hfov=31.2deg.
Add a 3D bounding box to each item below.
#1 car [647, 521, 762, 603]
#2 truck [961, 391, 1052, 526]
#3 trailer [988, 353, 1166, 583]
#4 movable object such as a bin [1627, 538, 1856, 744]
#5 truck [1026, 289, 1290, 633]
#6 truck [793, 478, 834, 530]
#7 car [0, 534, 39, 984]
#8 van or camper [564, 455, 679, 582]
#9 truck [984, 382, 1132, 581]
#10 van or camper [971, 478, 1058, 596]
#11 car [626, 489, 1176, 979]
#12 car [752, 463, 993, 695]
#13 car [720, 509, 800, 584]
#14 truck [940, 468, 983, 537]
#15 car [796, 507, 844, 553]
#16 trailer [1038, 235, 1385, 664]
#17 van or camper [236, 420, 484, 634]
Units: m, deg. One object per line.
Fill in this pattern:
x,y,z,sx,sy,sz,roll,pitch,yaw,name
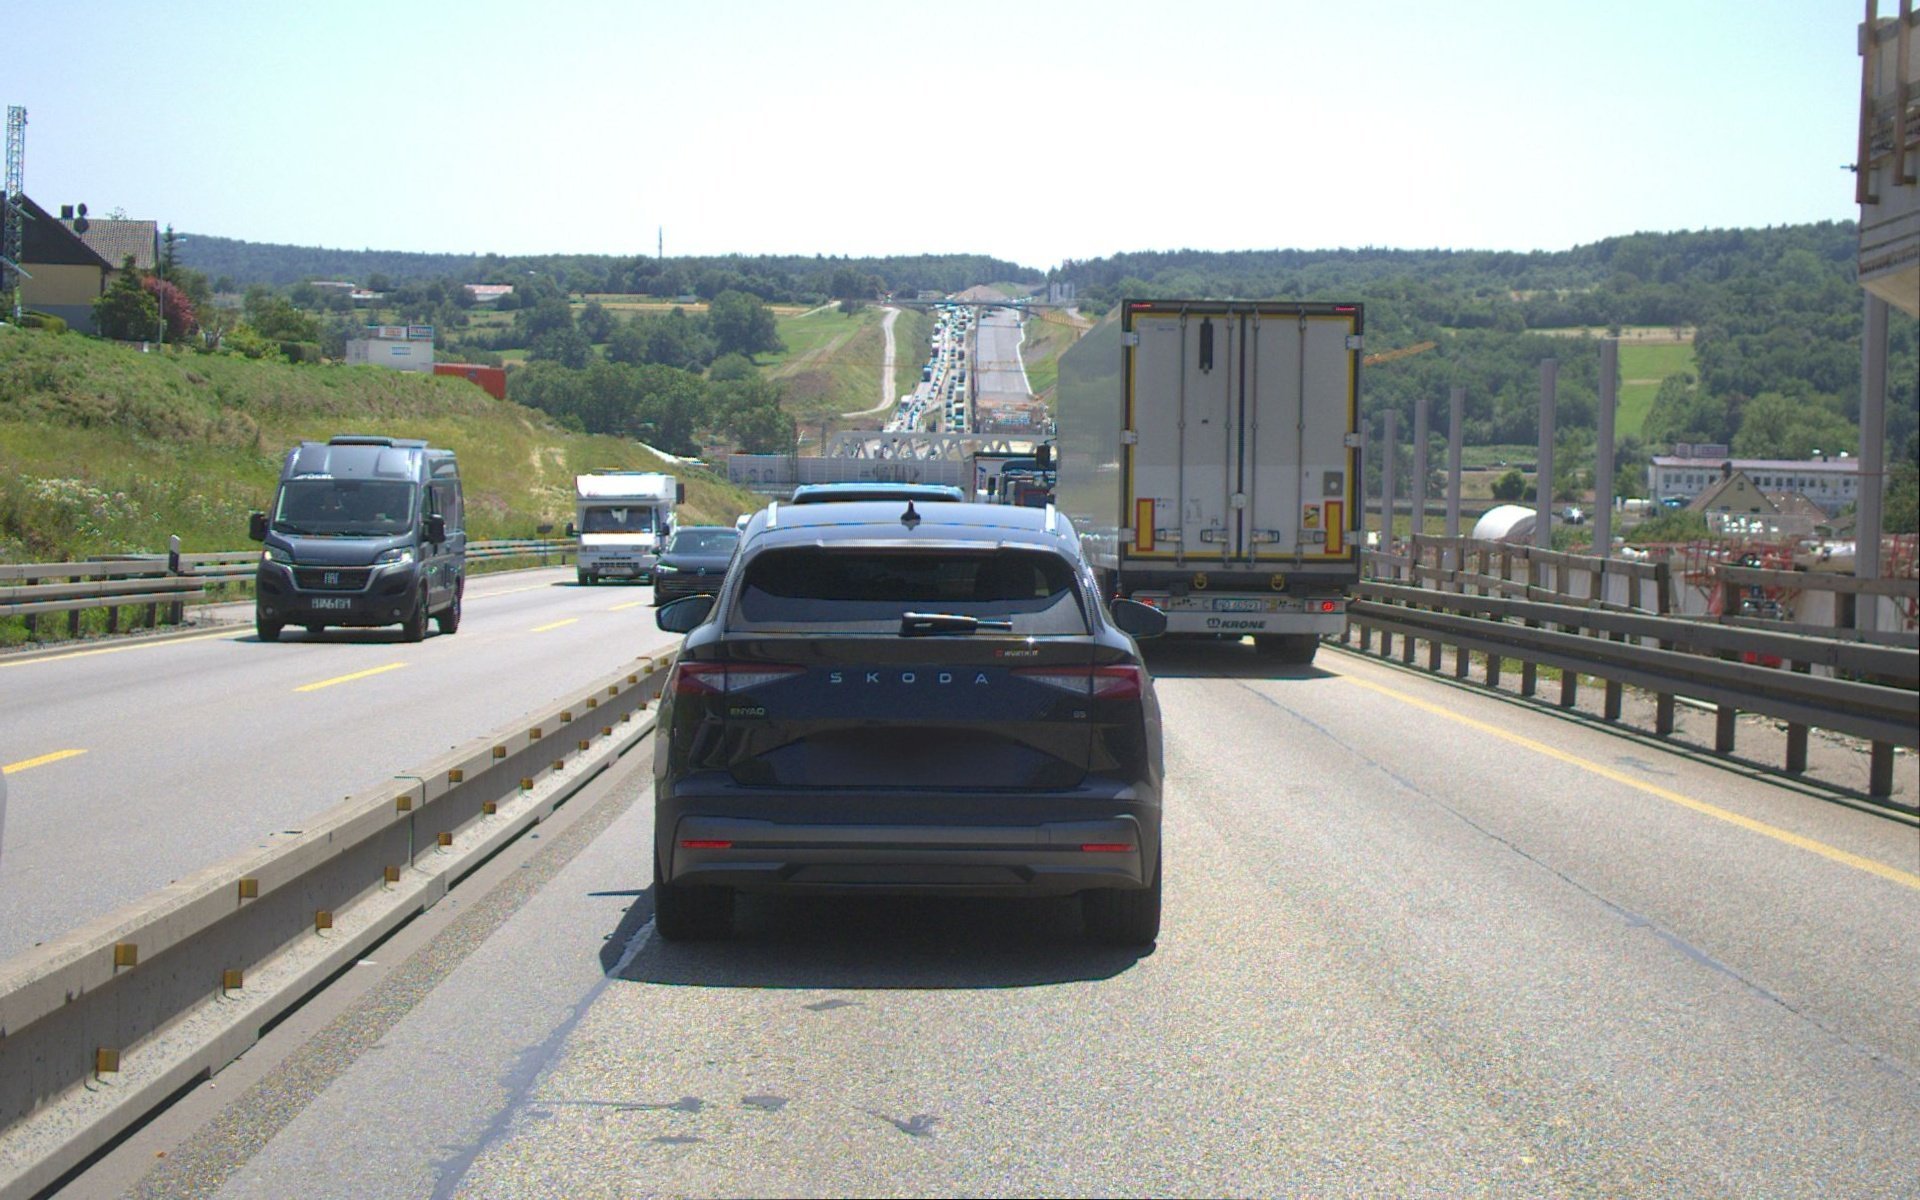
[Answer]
-4.756,-0.737,64.531,1.842,1.470,4.835,1,1,-1,car
1.615,-5.047,125.392,2.852,4.450,11.918,1,0,-1,truck
2.374,-2.644,75.484,3.180,4.498,14.967,1,0,-1,trailer
18.995,0.924,84.280,3.227,4.726,9.656,1,0,-1,movable object such as a bin
2.692,-1.950,49.489,3.180,4.497,8.166,1,2,-1,truck
-10.603,-6.946,249.381,2.779,3.660,6.278,1,1,-1,truck
-3.935,0.539,9.062,1.829,1.428,4.630,0,1,-1,car
-8.581,-2.076,87.778,2.291,3.056,6.924,1,1,-1,van or camper
2.276,-2.728,82.634,3.180,4.498,8.166,1,0,-1,truck
1.605,-1.762,99.474,2.389,3.269,6.468,1,0,2,van or camper
-0.194,0.417,13.380,1.802,1.602,4.000,1,1,0,car
-0.765,-0.186,31.077,1.993,1.919,4.508,1,0,-1,car
-5.062,-1.380,87.561,1.837,1.821,5.041,1,1,-1,car
0.062,-6.229,221.836,2.640,4.179,9.284,1,0,0,truck
-4.660,-2.342,114.533,1.483,1.500,2.805,1,1,-1,car
2.814,-1.785,42.990,3.180,4.497,13.110,1,2,-1,trailer
-7.782,-0.959,45.257,2.140,2.564,6.565,1,1,-1,van or camper
